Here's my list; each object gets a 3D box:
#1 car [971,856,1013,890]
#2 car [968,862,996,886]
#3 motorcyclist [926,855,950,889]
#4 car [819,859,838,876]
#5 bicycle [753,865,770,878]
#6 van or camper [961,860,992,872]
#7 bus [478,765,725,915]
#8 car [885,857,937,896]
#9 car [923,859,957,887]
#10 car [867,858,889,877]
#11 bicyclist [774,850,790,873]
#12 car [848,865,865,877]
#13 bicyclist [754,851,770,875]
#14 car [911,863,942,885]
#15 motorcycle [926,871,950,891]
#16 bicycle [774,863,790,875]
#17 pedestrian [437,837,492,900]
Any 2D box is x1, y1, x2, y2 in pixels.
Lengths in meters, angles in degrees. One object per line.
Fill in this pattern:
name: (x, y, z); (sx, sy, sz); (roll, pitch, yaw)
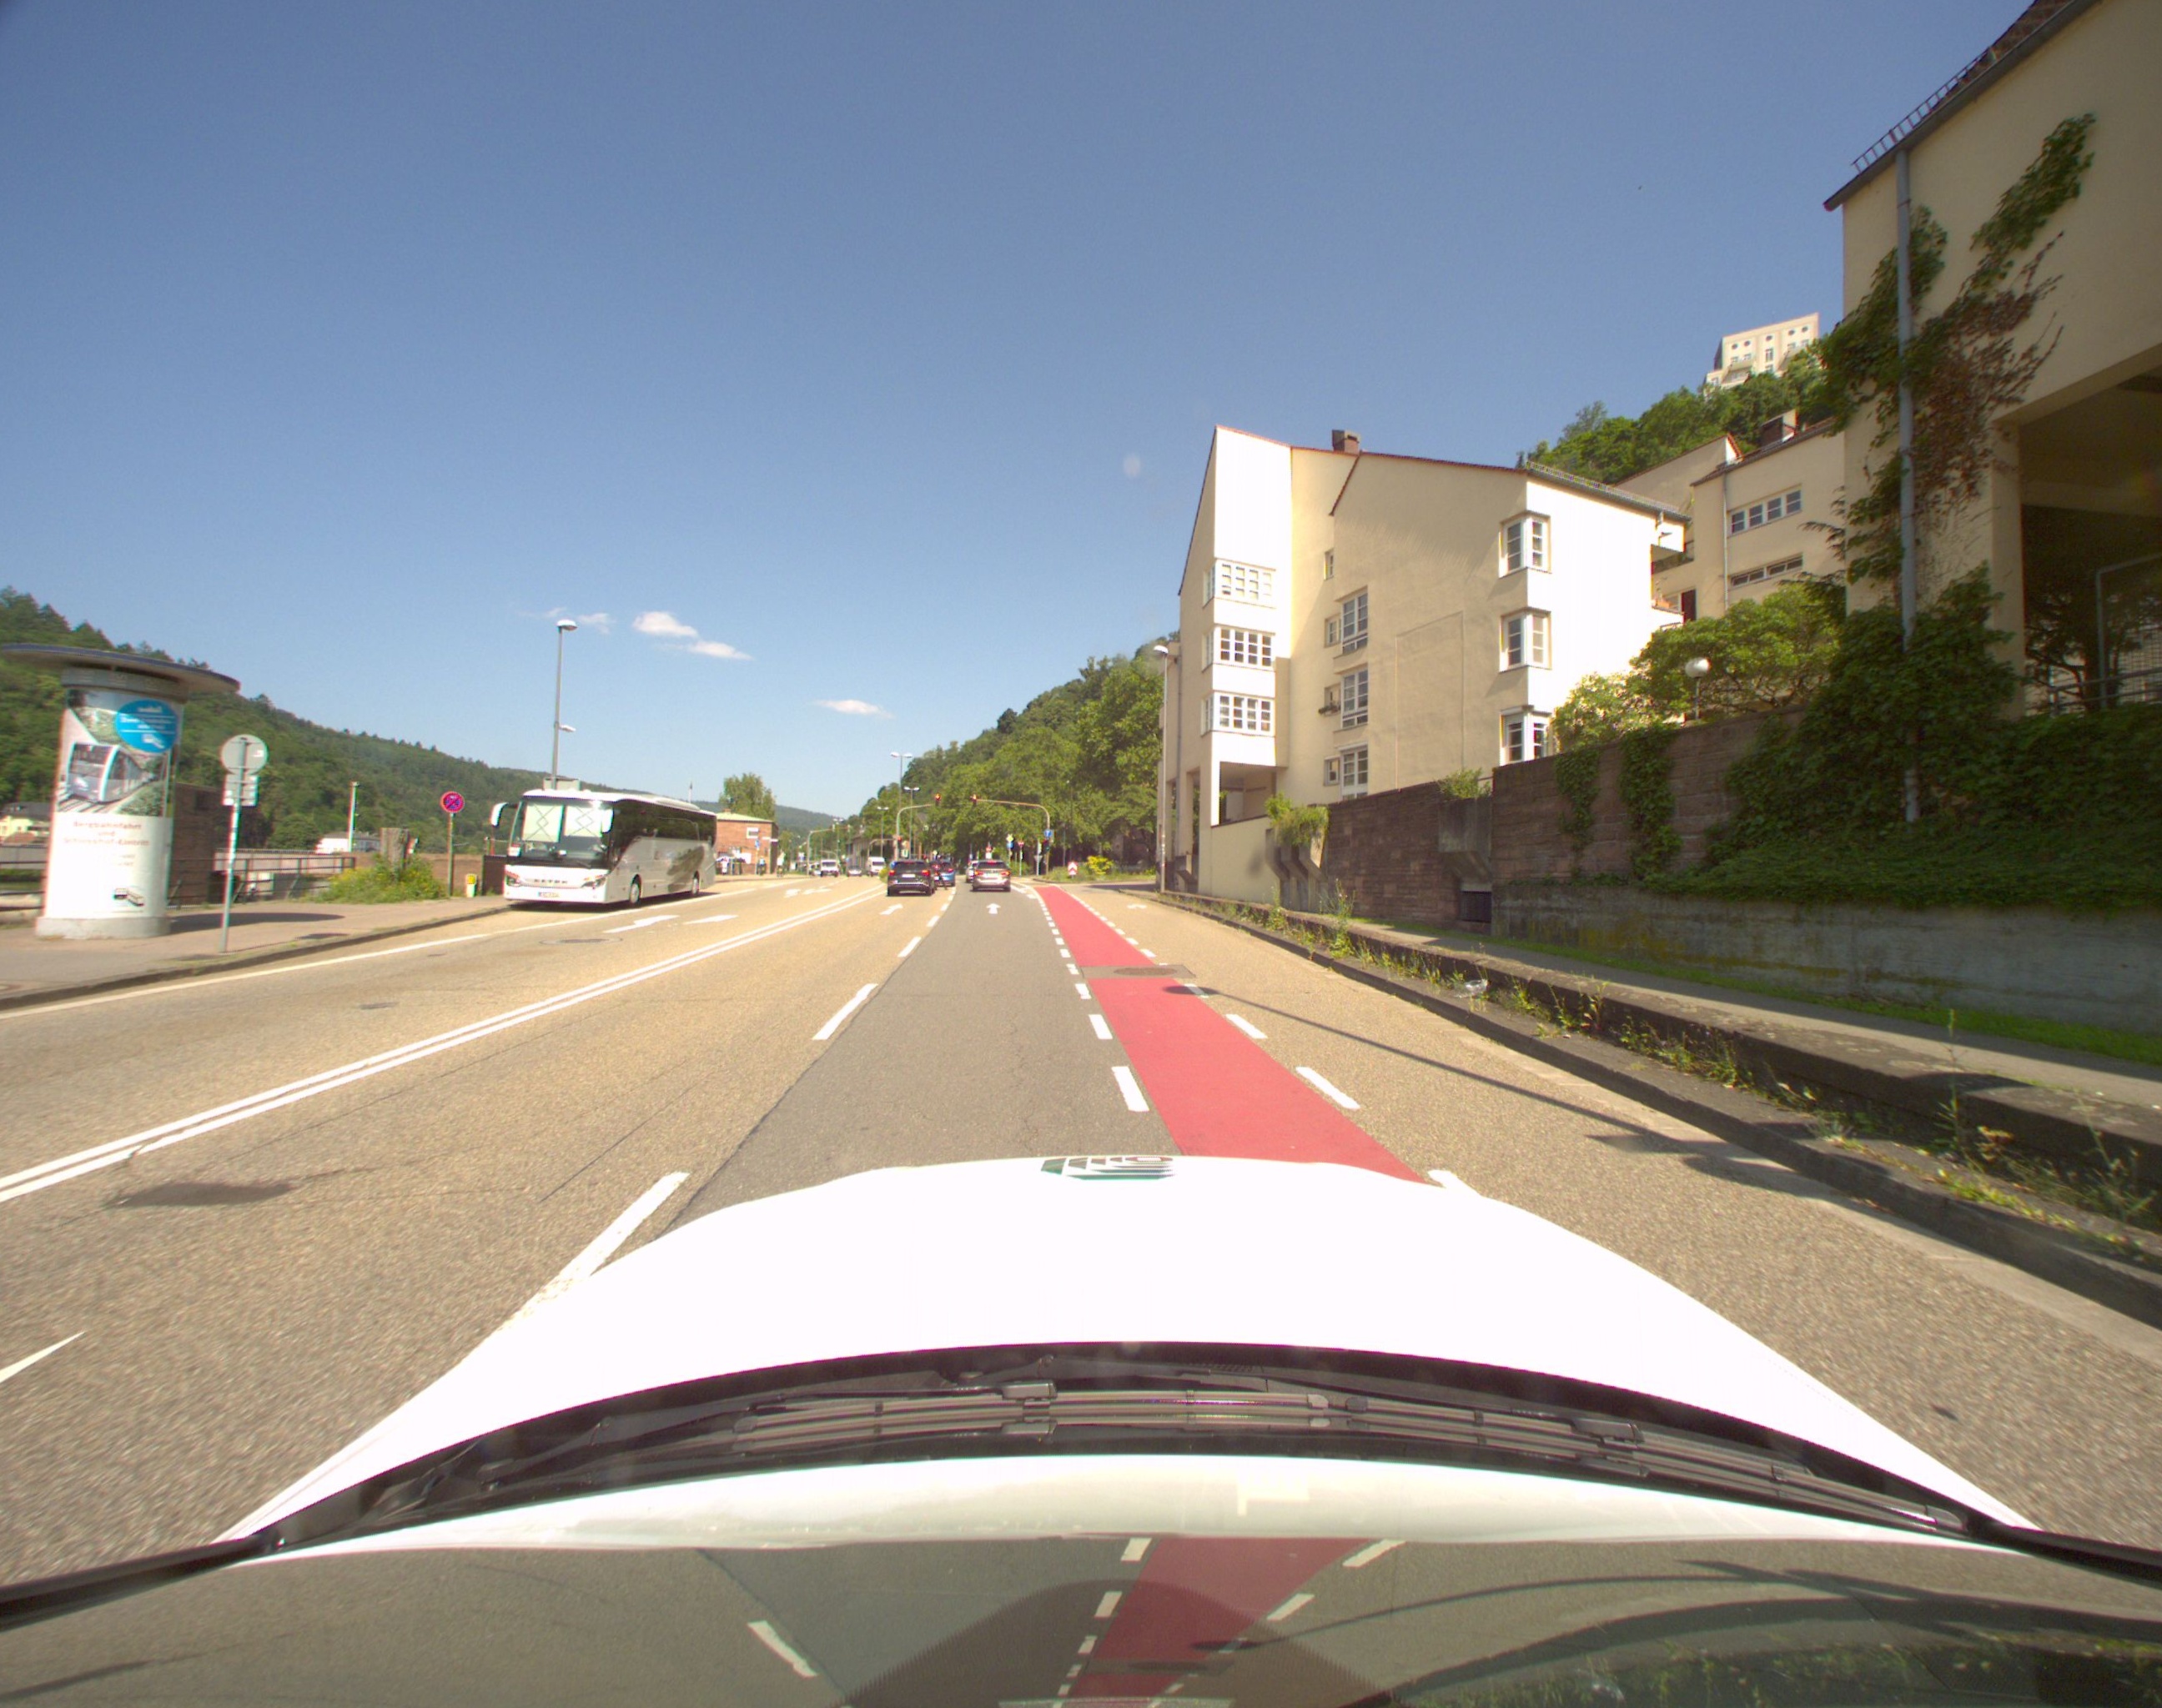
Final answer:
car: (-4.353, 0.905, 39.788); (1.886, 1.521, 4.296); (2, -1, -6)
car: (-6.667, 1.354, 54.773); (1.784, 1.532, 4.724); (0, -1, -8)
motorcyclist: (-7.088, 0.885, 40.369); (1.075, 1.684, 1.153); (0, -1, -7)
car: (-32.359, 1.706, 104.567); (2.219, 2.078, 5.015); (0, 0, -16)
bicycle: (-27.673, 1.466, 70.572); (1.215, 1.090, 2.582); (0, -1, -17)
van or camper: (-16.781, 1.942, 130.446); (4.515, 1.902, 2.005); (0, -1, 9)
bus: (-15.597, -0.327, 28.264); (2.958, 3.801, 13.191); (4, -1, -11)
car: (-7.149, 0.922, 34.590); (1.868, 1.514, 4.138); (2, -1, -8)
car: (-8.079, 1.058, 47.000); (1.866, 1.562, 3.988); (0, 0, -9)
car: (-27.332, 1.793, 109.461); (2.391, 2.576, 6.014); (0, -1, -20)
bicyclist: (-26.508, 0.676, 72.155); (1.215, 2.014, 1.112); (0, -1, -17)
car: (-29.293, 2.226, 106.123); (1.999, 1.432, 4.141); (0, 0, -18)
bicyclist: (-27.718, 0.793, 70.740); (1.215, 2.014, 1.112); (0, -1, -17)
car: (-10.269, 1.301, 54.297); (1.866, 1.359, 3.988); (0, 0, -9)
motorcycle: (-7.100, 1.305, 40.448); (1.037, 0.919, 2.598); (0, 0, -7)
bicycle: (-26.454, 1.310, 72.106); (1.215, 1.090, 2.582); (0, 0, -17)
pedestrian: (-18.104, 0.431, 23.950); (0.893, 1.796, 1.036); (1, -1, -13)
